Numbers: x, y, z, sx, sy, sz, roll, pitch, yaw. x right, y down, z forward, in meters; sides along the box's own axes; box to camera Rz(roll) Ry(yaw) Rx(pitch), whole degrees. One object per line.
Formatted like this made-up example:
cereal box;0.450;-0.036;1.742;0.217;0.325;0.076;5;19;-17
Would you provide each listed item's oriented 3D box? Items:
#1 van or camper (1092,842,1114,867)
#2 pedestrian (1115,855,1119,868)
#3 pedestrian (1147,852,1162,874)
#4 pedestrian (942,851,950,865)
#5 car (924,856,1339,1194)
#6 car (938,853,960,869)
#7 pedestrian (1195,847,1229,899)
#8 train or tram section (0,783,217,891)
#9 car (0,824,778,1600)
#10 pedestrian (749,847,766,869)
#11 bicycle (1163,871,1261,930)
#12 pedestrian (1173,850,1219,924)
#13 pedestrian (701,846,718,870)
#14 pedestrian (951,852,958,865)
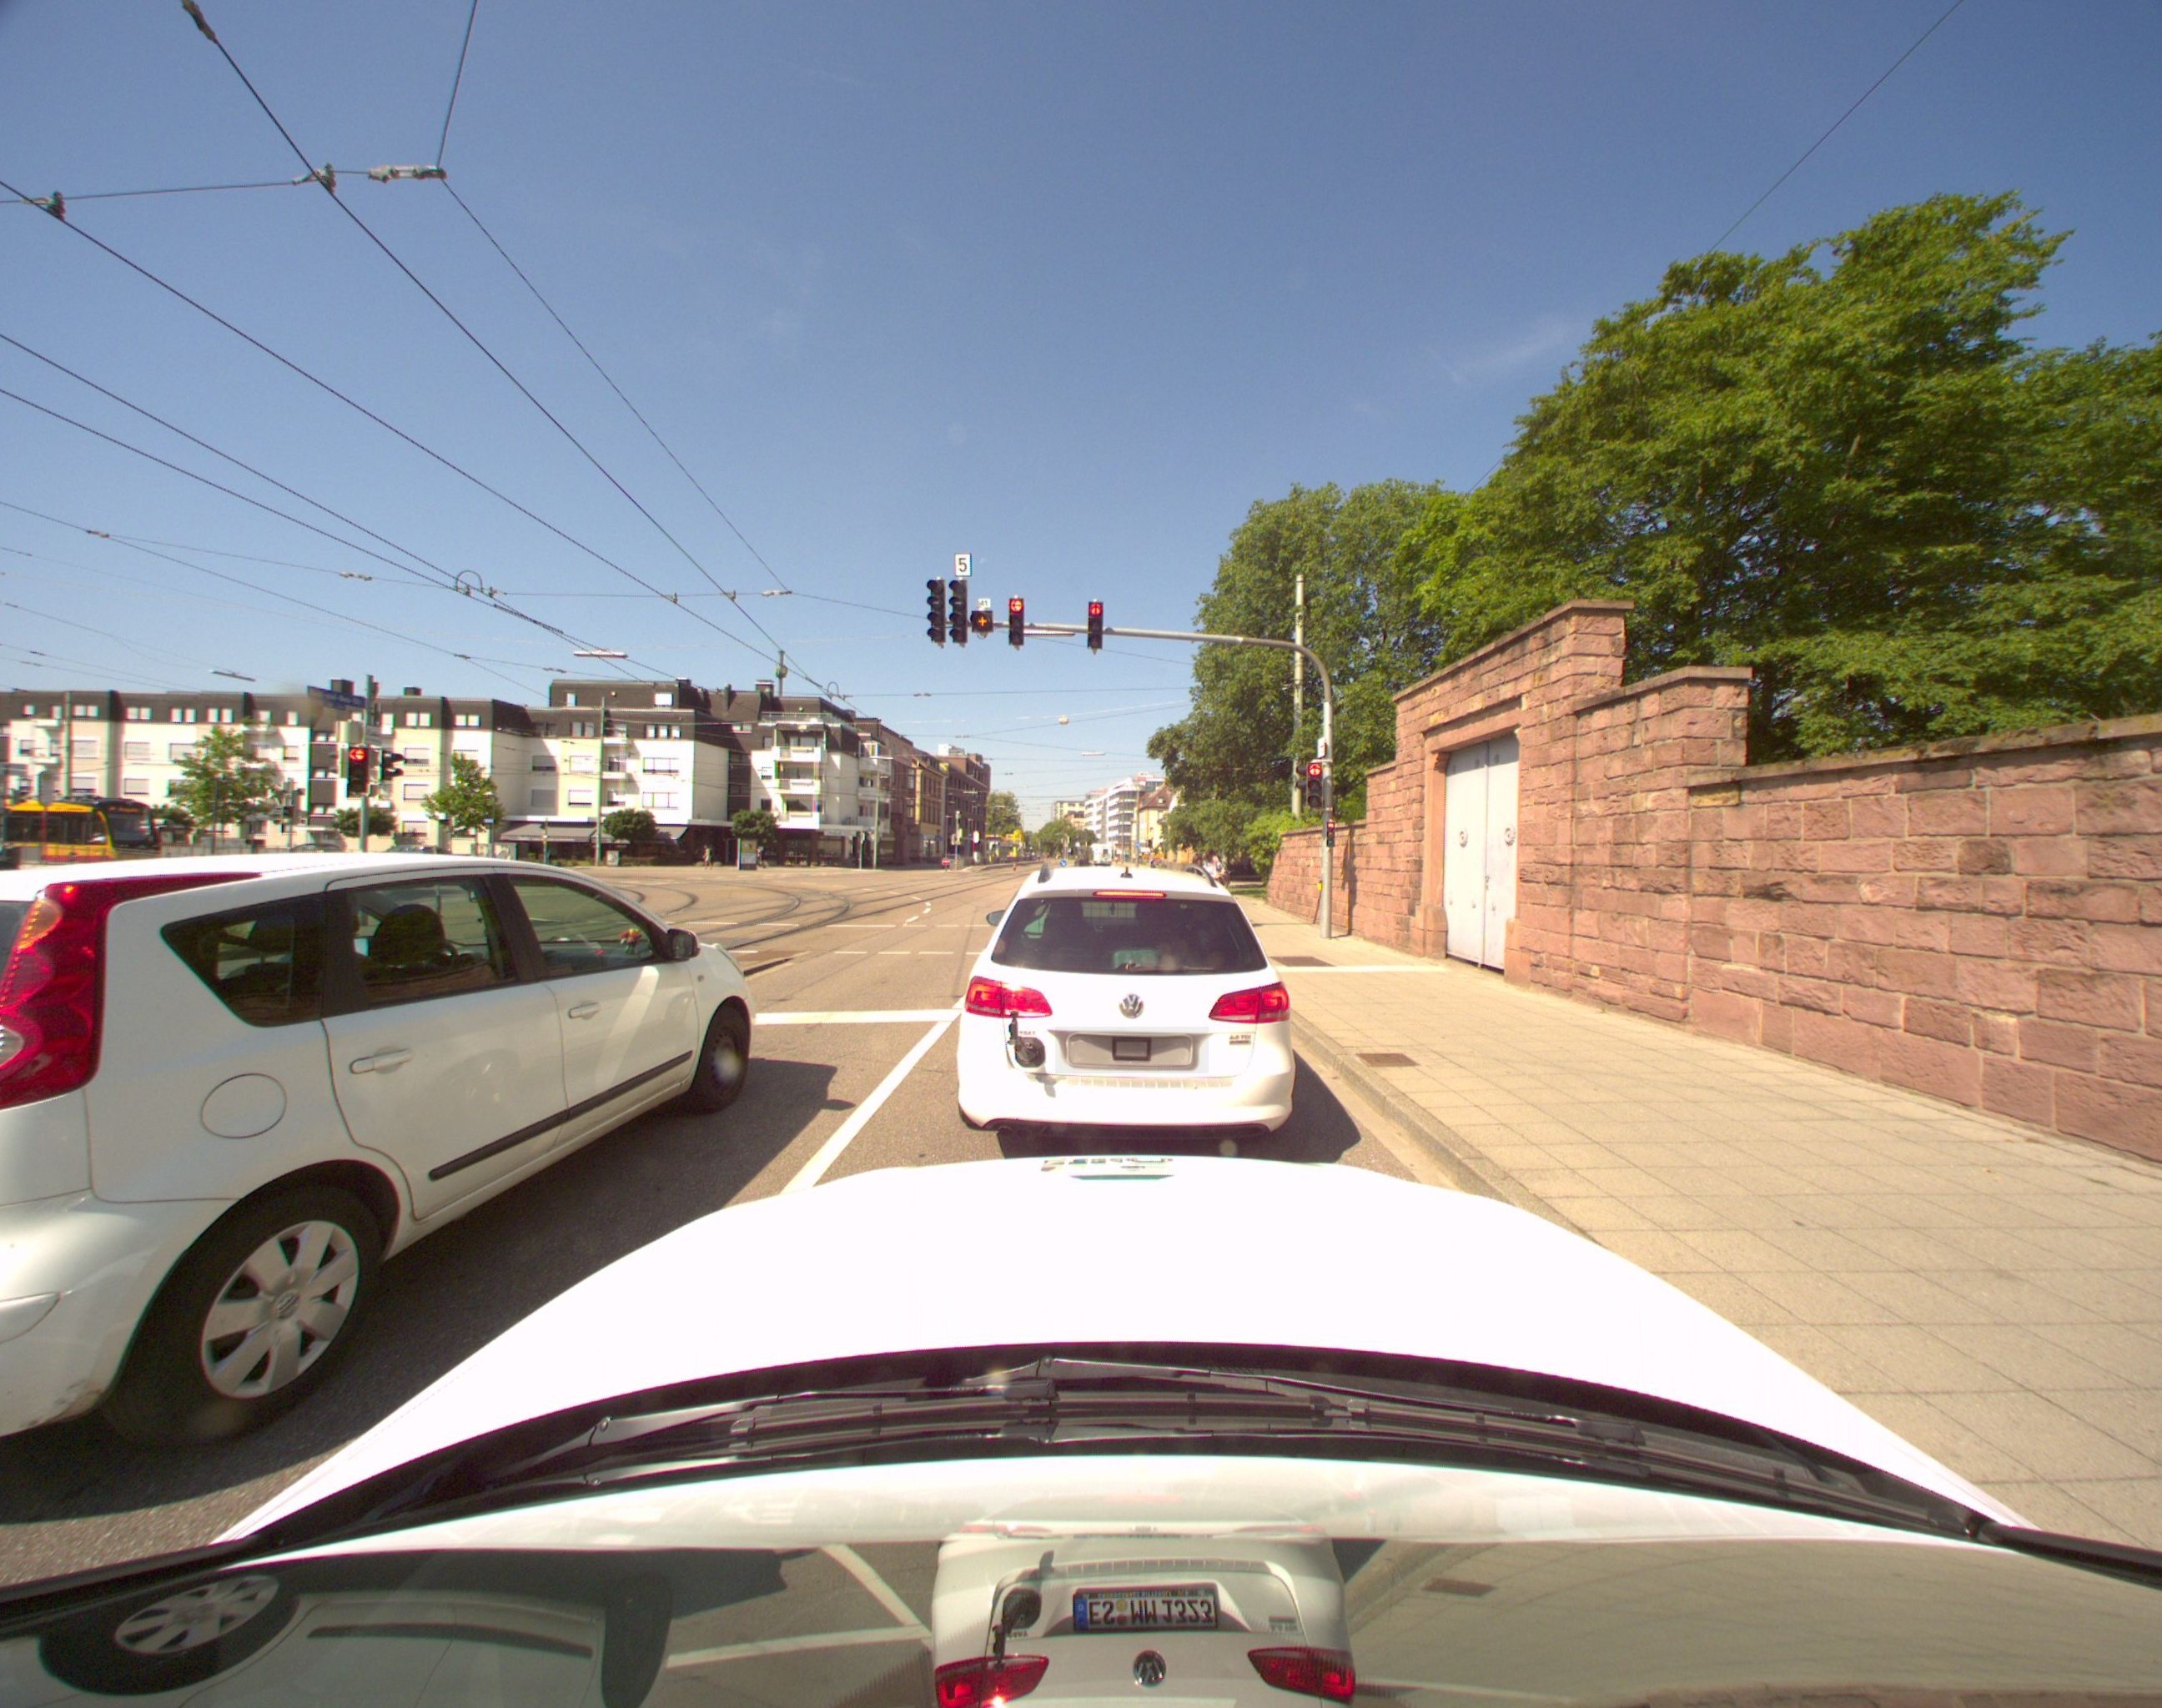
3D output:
van or camper;2.751;0.096;102.145;2.558;3.093;5.703;-1;-1;1
pedestrian;6.448;1.321;146.486;0.687;2.325;1.233;-1;-1;3
pedestrian;6.133;0.754;68.088;0.865;1.743;0.967;0;-1;-23
pedestrian;-17.708;0.547;106.977;0.860;1.743;0.973;-1;-1;-4
car;0.275;0.748;5.551;1.801;1.448;4.001;0;0;1
car;-13.823;0.739;85.243;1.736;1.618;3.997;-1;-1;-1
pedestrian;4.247;0.612;26.383;0.945;1.651;0.979;-1;-1;17
train or tram section;-54.717;-0.695;41.521;16.149;5.150;4.735;-1;-1;0
car;-2.905;0.707;3.547;1.636;1.566;3.805;-1;1;1
pedestrian;-25.238;0.305;63.605;0.853;1.743;0.981;-2;-2;44
bicycle;2.822;0.973;17.447;2.031;1.090;0.704;-3;1;-28
pedestrian;2.521;0.713;17.928;0.750;1.571;0.669;-1;0;-27
pedestrian;-27.364;0.273;59.940;0.980;1.743;0.854;0;-2;-39
pedestrian;-17.541;0.653;112.891;0.860;1.743;0.973;-1;-1;-4
